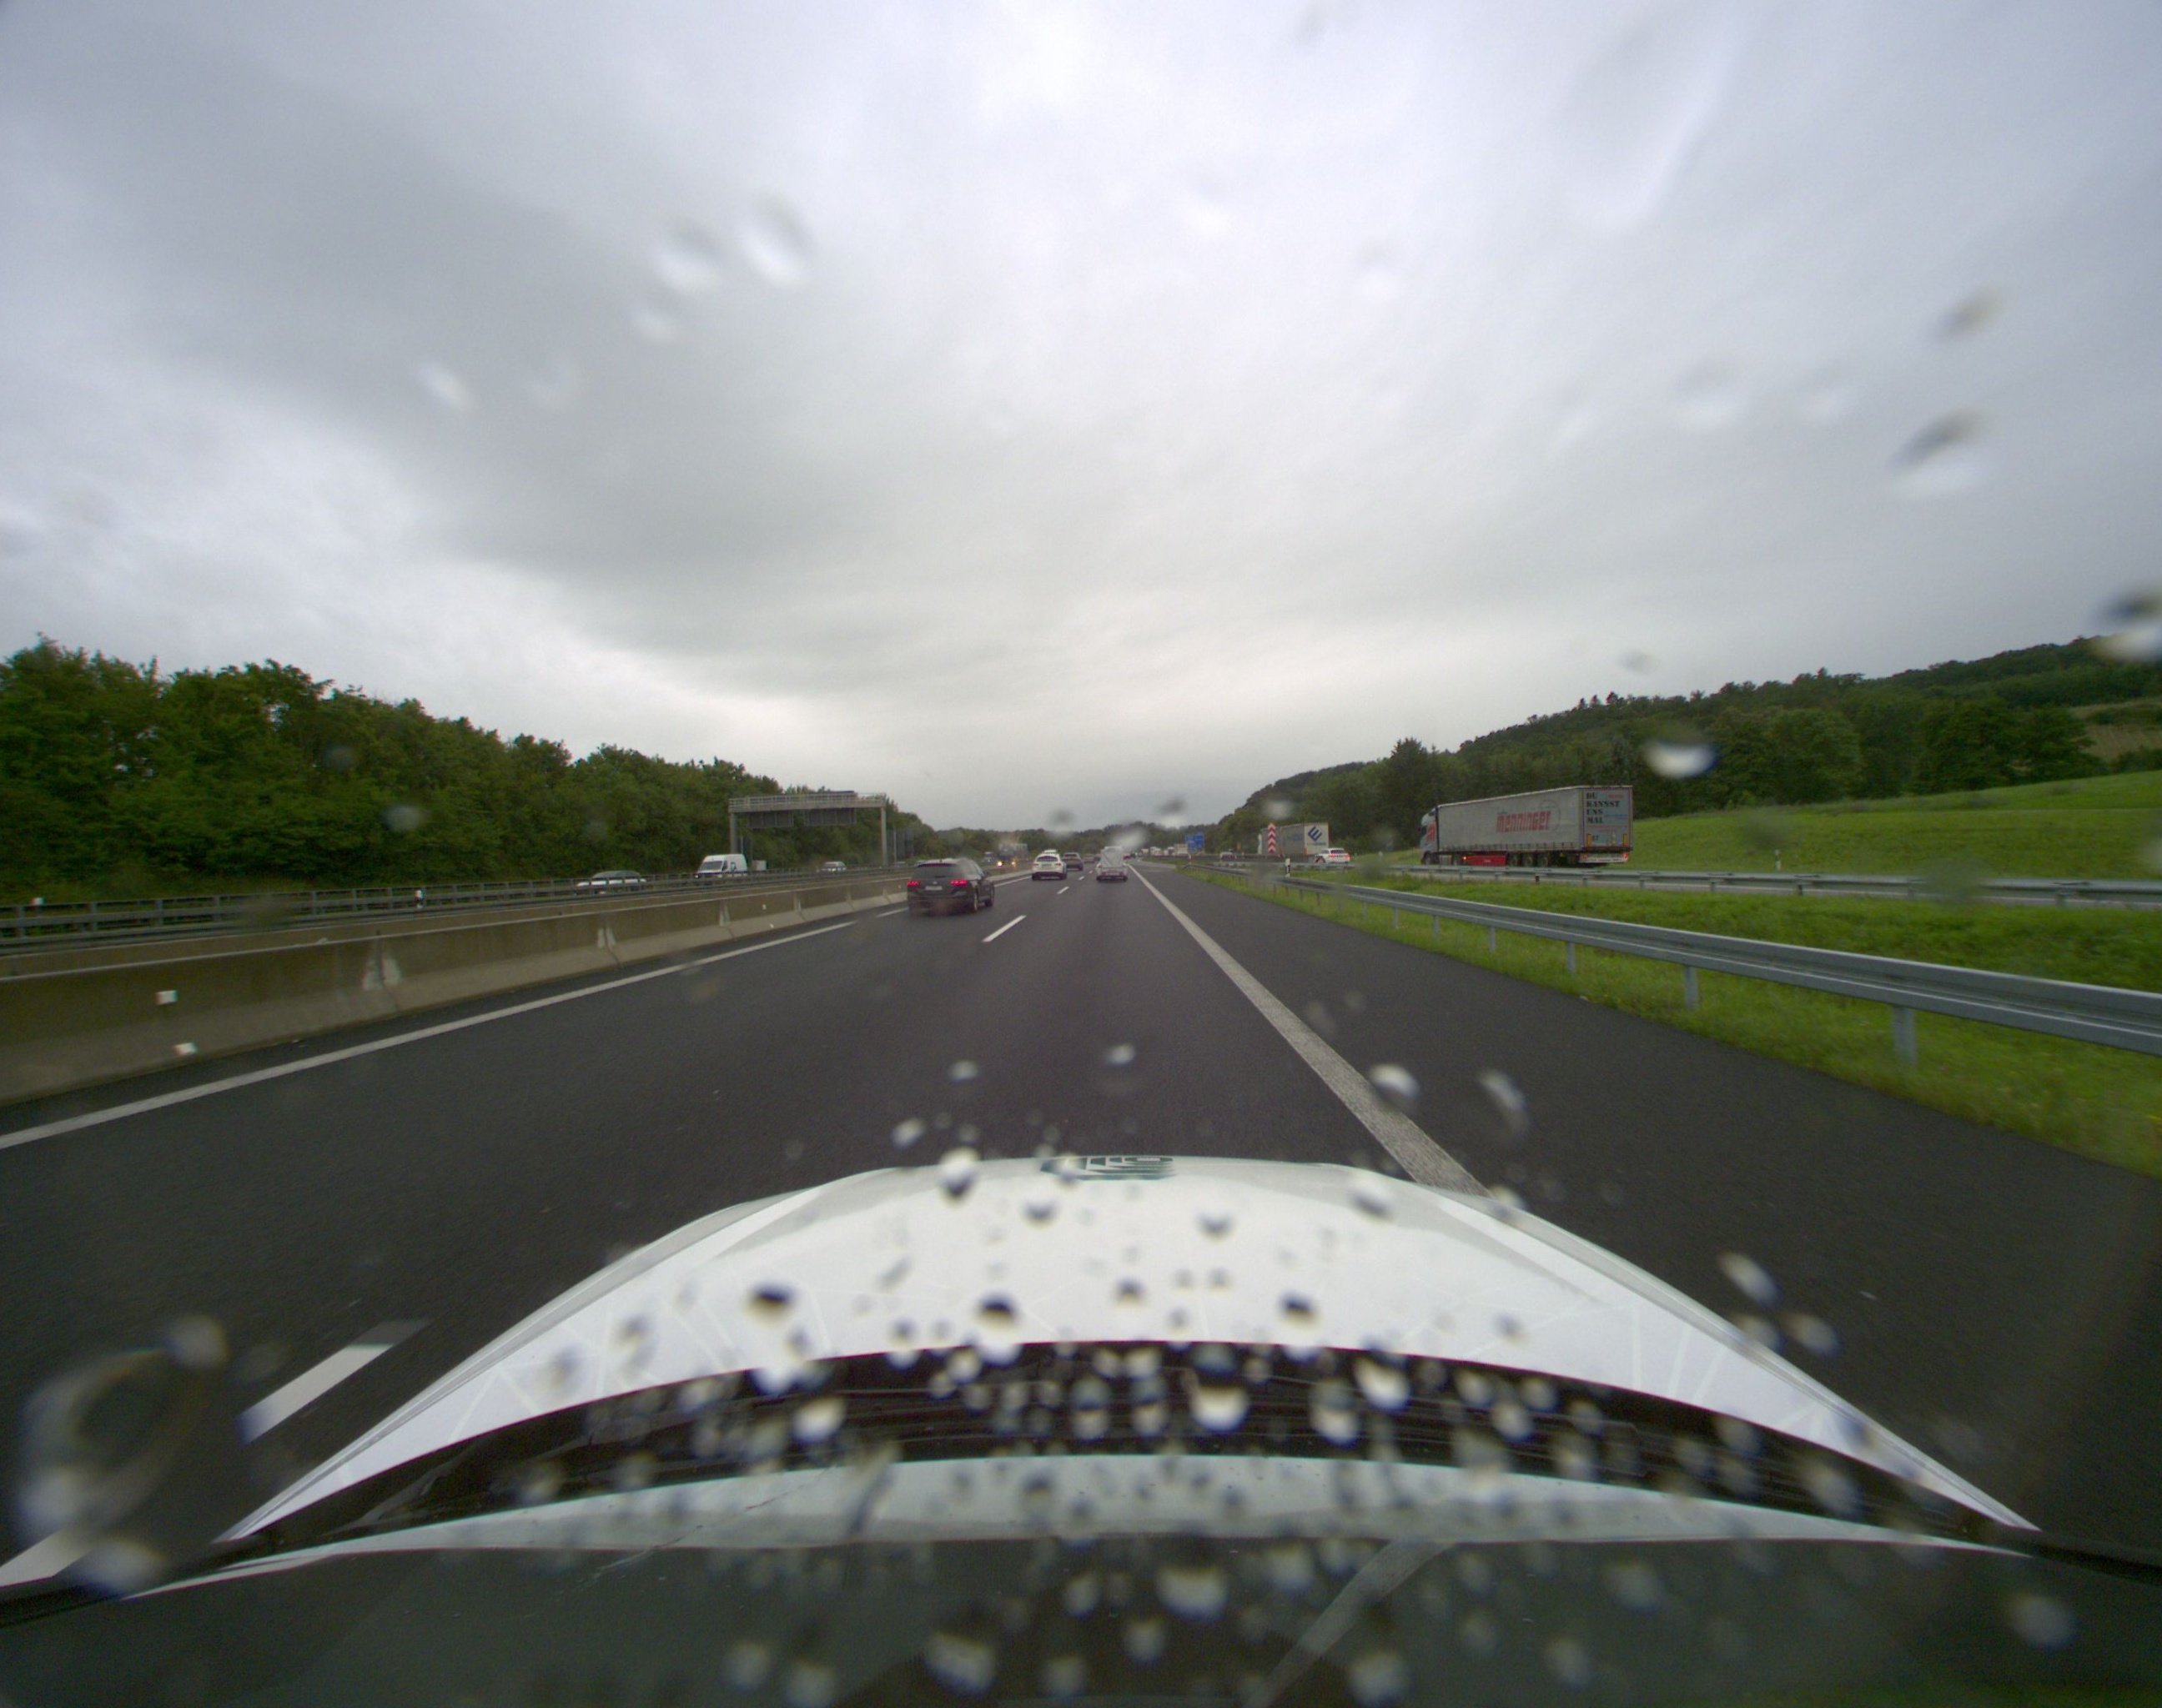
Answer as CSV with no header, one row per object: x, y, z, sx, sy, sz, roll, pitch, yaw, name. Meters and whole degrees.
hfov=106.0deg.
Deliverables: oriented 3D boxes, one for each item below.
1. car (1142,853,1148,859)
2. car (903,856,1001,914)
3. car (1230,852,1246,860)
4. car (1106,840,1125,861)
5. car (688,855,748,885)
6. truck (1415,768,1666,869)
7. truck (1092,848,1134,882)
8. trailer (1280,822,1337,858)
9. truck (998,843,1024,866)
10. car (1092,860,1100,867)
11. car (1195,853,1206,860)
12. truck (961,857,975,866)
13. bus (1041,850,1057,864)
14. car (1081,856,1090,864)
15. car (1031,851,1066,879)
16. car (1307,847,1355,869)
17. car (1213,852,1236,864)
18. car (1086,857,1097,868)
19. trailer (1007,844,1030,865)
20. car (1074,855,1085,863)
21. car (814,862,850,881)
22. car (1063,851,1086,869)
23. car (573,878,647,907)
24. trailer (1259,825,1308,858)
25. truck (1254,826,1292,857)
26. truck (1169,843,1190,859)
17.712,0.617,225.697,1.638,1.574,4.003,0,0,3,car
-3.538,0.803,23.291,1.780,1.459,4.806,-1,0,3,car
23.349,0.300,121.289,1.691,1.288,3.536,0,0,1,car
4.667,-0.511,110.725,2.323,2.725,6.541,-1,1,1,car
-29.229,1.229,65.803,1.986,2.213,5.718,-2,0,2,car
24.368,-1.575,45.470,3.811,4.540,16.868,-1,0,-2,truck
1.832,0.591,47.419,2.234,1.839,6.587,0,0,2,truck
23.212,-1.390,83.486,3.072,3.527,8.072,0,0,-4,trailer
-11.021,0.153,129.438,2.796,3.524,10.649,0,0,3,truck
3.396,2.137,181.104,1.638,1.574,4.003,0,0,3,car
21.932,0.396,149.444,1.691,1.288,3.536,0,0,1,car
-20.666,1.349,149.191,1.987,1.495,4.470,-2,0,0,truck
-6.362,0.603,162.534,2.531,2.586,8.276,0,0,2,bus
1.025,1.385,177.466,1.812,1.662,4.020,-2,0,3,car
-2.053,0.650,51.205,2.044,1.670,4.536,-1,0,-3,car
19.698,0.310,64.384,1.989,1.616,5.072,-2,0,-4,car
18.424,0.500,104.799,1.981,1.377,5.315,-1,1,-2,car
1.819,1.487,140.832,1.731,1.794,4.002,-1,0,2,car
-10.631,0.155,138.849,2.931,3.516,8.056,0,0,2,trailer
-0.318,0.994,163.309,1.812,1.662,4.020,-2,0,3,car
-24.788,1.672,81.255,1.986,1.737,4.584,-2,0,2,car
-0.577,0.568,78.936,1.968,1.703,4.805,-1,0,2,car
-25.916,2.075,44.945,1.583,1.425,3.921,-1,0,3,car
22.696,-1.361,91.693,2.932,3.527,8.408,0,0,-4,trailer
22.495,-1.368,95.826,2.931,3.527,5.922,0,0,-2,truck
22.474,-0.705,186.126,3.814,3.659,8.267,0,0,-1,truck
